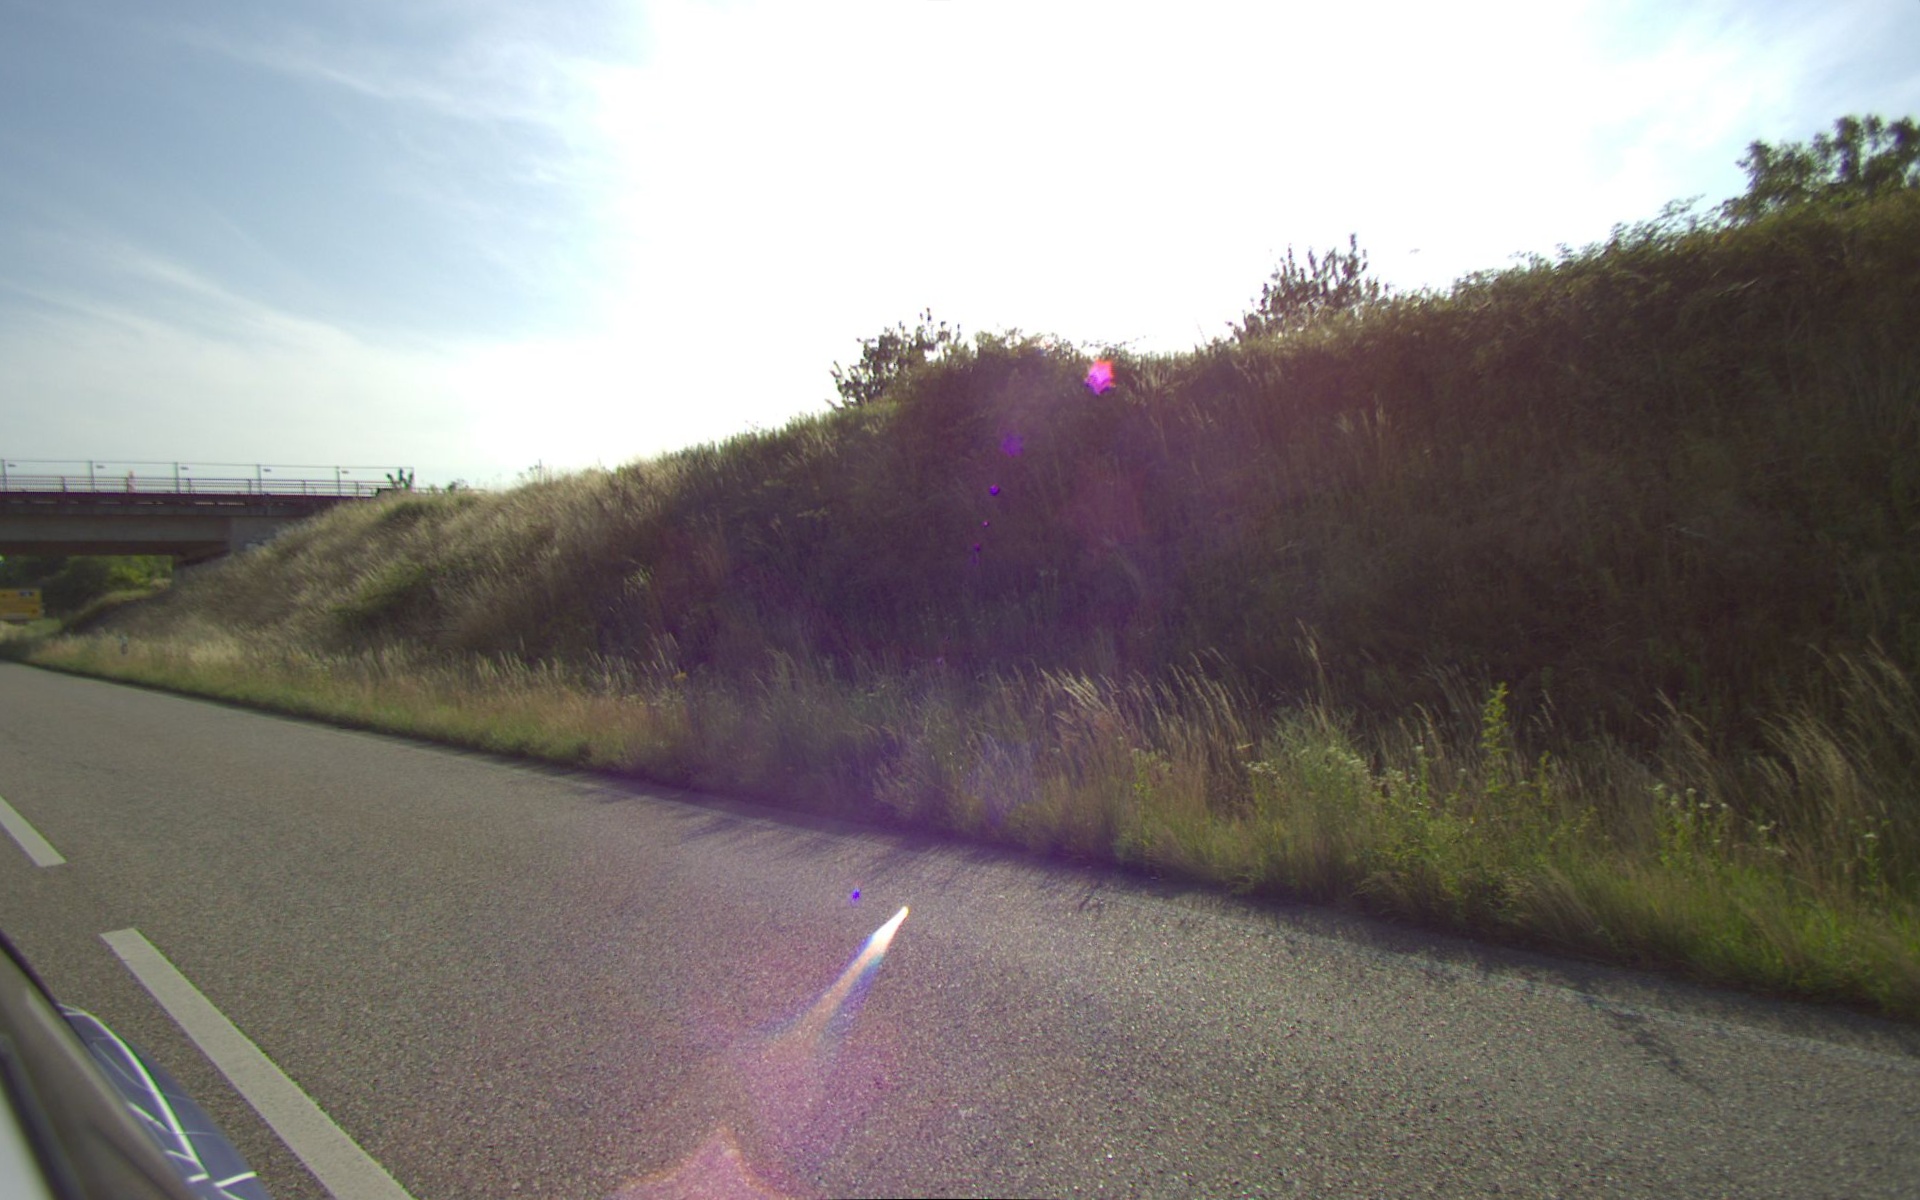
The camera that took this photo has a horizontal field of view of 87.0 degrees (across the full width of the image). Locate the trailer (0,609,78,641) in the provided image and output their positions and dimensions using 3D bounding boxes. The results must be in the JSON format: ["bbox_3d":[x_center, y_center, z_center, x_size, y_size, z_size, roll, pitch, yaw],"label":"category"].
[{"bbox_3d":[-129.936,3.479,138.453,13.562,4.144,3.570,-1,0,-18],"label":"trailer"}]
